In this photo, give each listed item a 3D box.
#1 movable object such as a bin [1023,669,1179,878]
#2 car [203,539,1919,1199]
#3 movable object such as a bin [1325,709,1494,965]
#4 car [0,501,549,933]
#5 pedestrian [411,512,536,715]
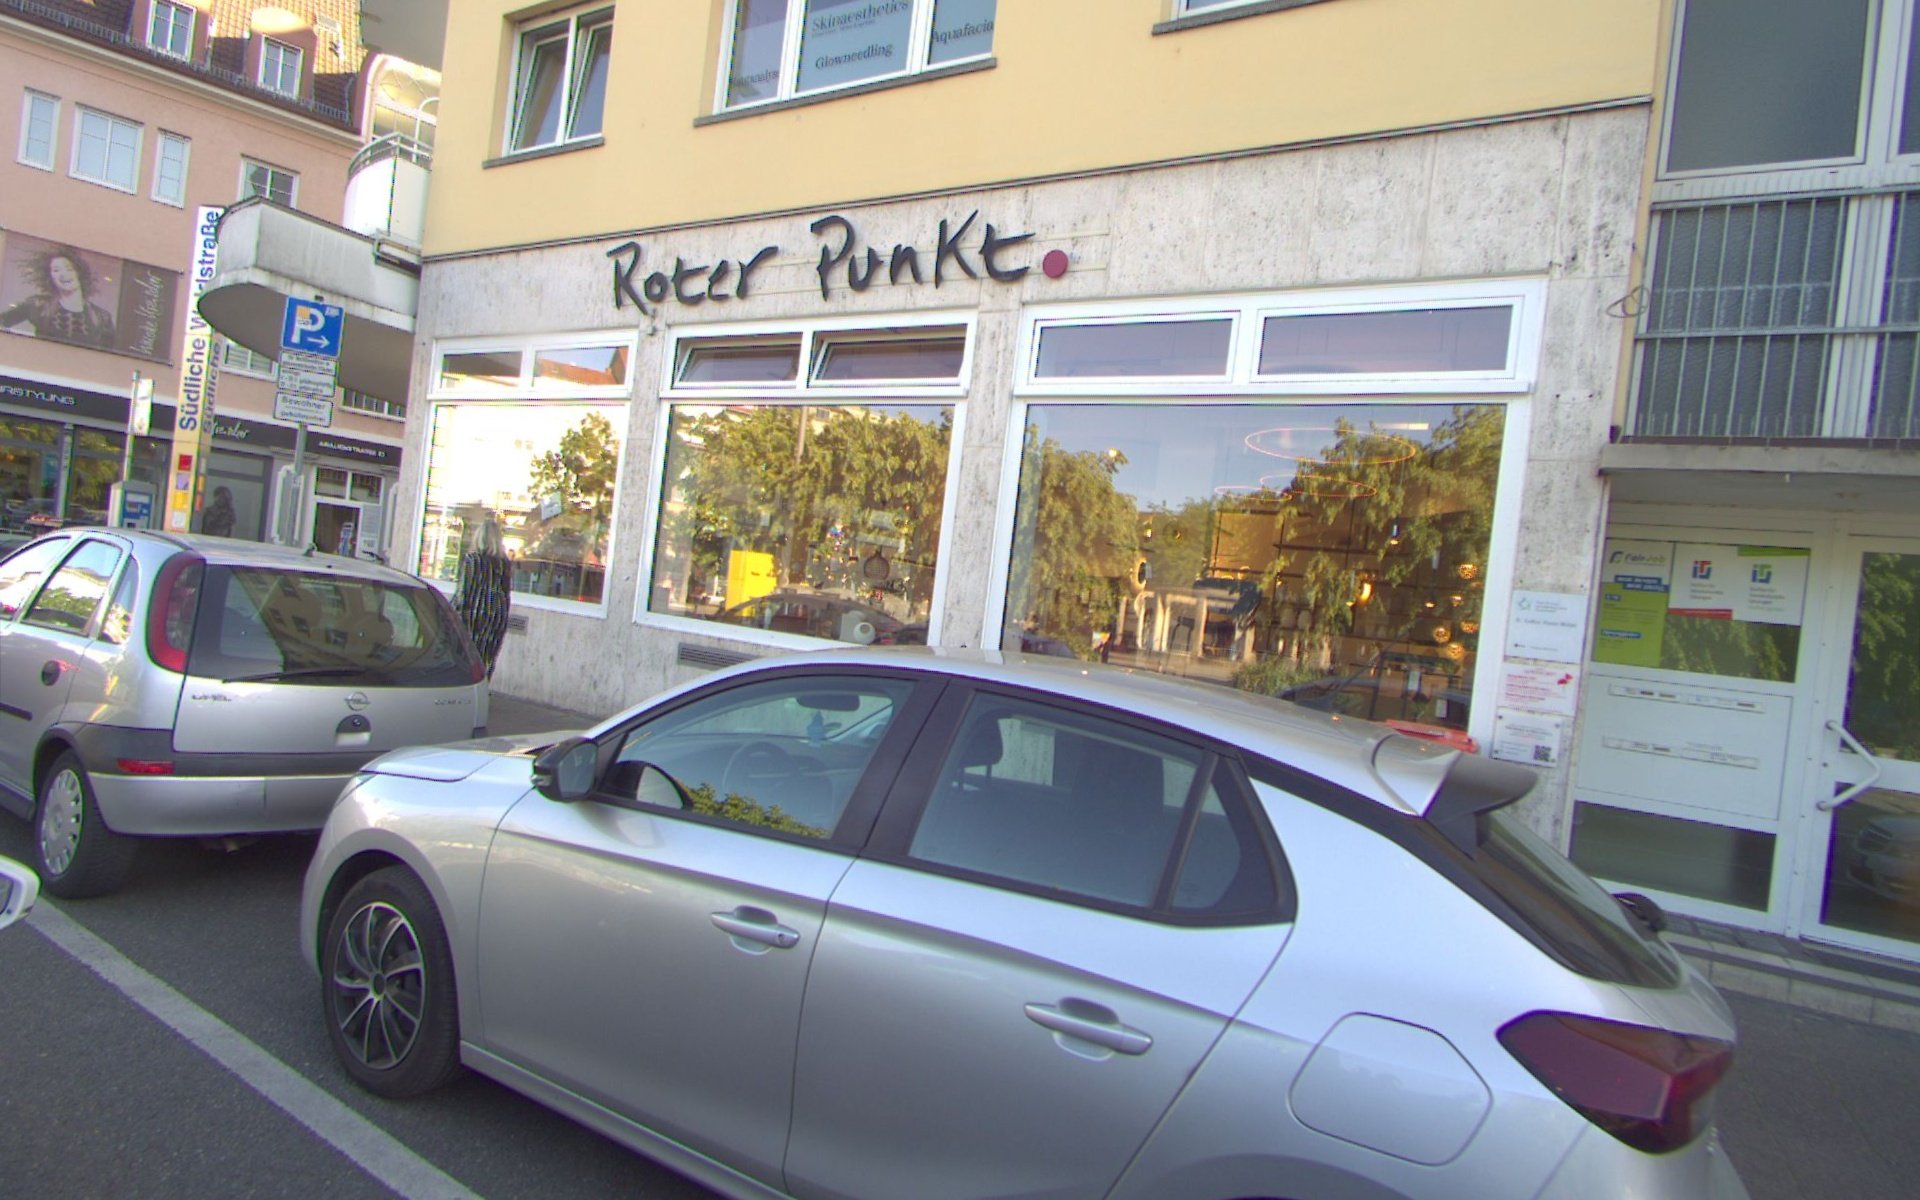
[{"bbox_3d":[0.863,1.009,6.104,0.609,1.082,0.703,7,3,31],"label":"movable object such as a bin"},{"bbox_3d":[-0.073,0.809,2.845,4.006,1.444,1.674,7,-1,28],"label":"car"},{"bbox_3d":[2.328,1.170,5.190,0.609,1.082,0.703,7,3,31],"label":"movable object such as a bin"},{"bbox_3d":[-4.064,0.319,5.140,3.822,1.411,1.624,7,-1,33],"label":"car"},{"bbox_3d":[-4.201,0.114,8.693,0.618,1.654,0.661,6,2,36],"label":"pedestrian"}]
